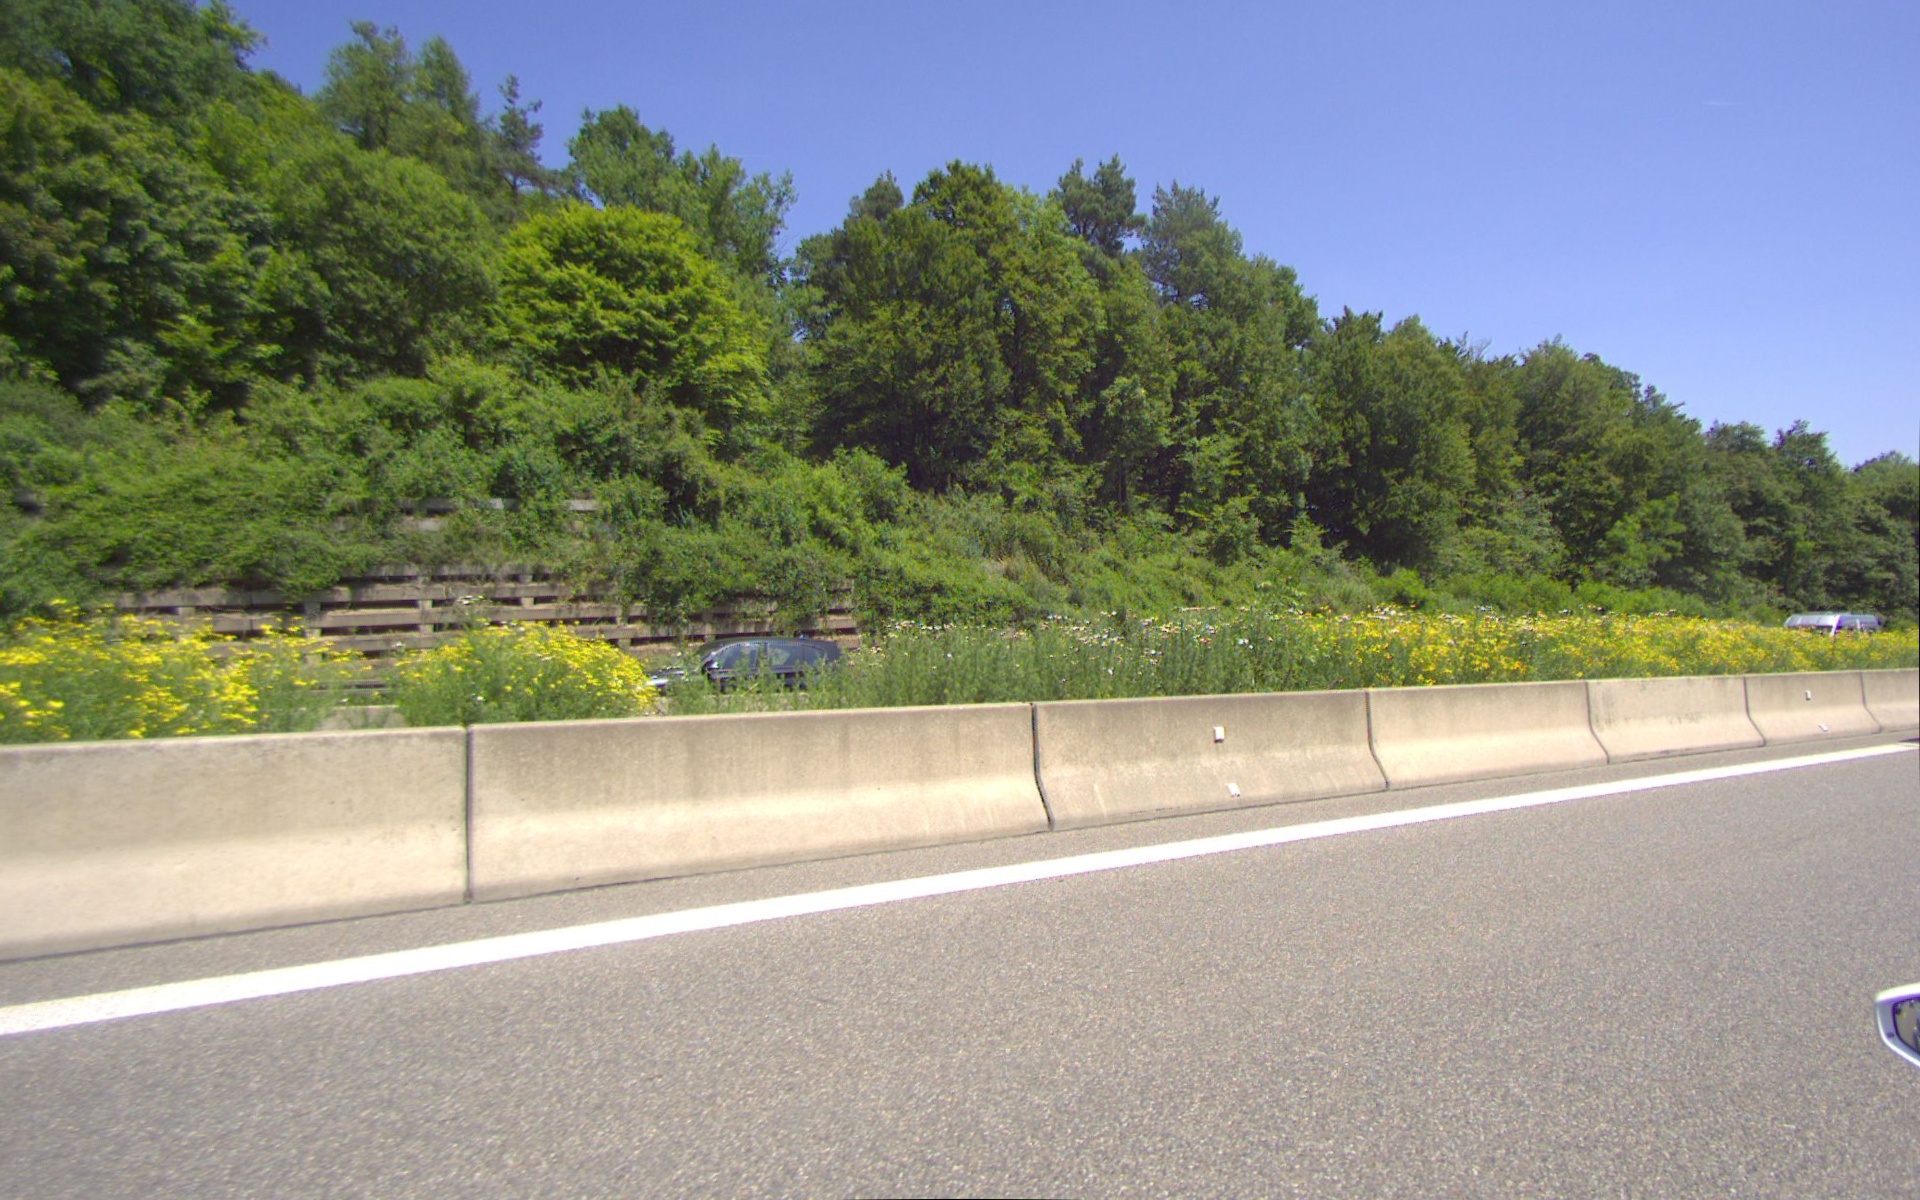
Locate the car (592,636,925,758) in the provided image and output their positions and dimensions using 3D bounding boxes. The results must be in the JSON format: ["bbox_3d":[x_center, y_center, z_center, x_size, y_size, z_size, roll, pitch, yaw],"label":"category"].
[{"bbox_3d":[-2.919,1.316,14.899,4.534,1.542,1.779,1,-2,-31],"label":"car"}]

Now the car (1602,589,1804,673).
[{"bbox_3d":[16.879,0.696,22.763,4.836,1.712,1.841,2,0,-29],"label":"car"}]

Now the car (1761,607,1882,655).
[{"bbox_3d":[35.660,1.306,41.533,5.440,1.831,2.035,2,0,-29],"label":"car"}]

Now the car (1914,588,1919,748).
[{"bbox_3d":[14.020,0.847,12.387,5.420,1.872,1.889,1,0,-31],"label":"car"}]
